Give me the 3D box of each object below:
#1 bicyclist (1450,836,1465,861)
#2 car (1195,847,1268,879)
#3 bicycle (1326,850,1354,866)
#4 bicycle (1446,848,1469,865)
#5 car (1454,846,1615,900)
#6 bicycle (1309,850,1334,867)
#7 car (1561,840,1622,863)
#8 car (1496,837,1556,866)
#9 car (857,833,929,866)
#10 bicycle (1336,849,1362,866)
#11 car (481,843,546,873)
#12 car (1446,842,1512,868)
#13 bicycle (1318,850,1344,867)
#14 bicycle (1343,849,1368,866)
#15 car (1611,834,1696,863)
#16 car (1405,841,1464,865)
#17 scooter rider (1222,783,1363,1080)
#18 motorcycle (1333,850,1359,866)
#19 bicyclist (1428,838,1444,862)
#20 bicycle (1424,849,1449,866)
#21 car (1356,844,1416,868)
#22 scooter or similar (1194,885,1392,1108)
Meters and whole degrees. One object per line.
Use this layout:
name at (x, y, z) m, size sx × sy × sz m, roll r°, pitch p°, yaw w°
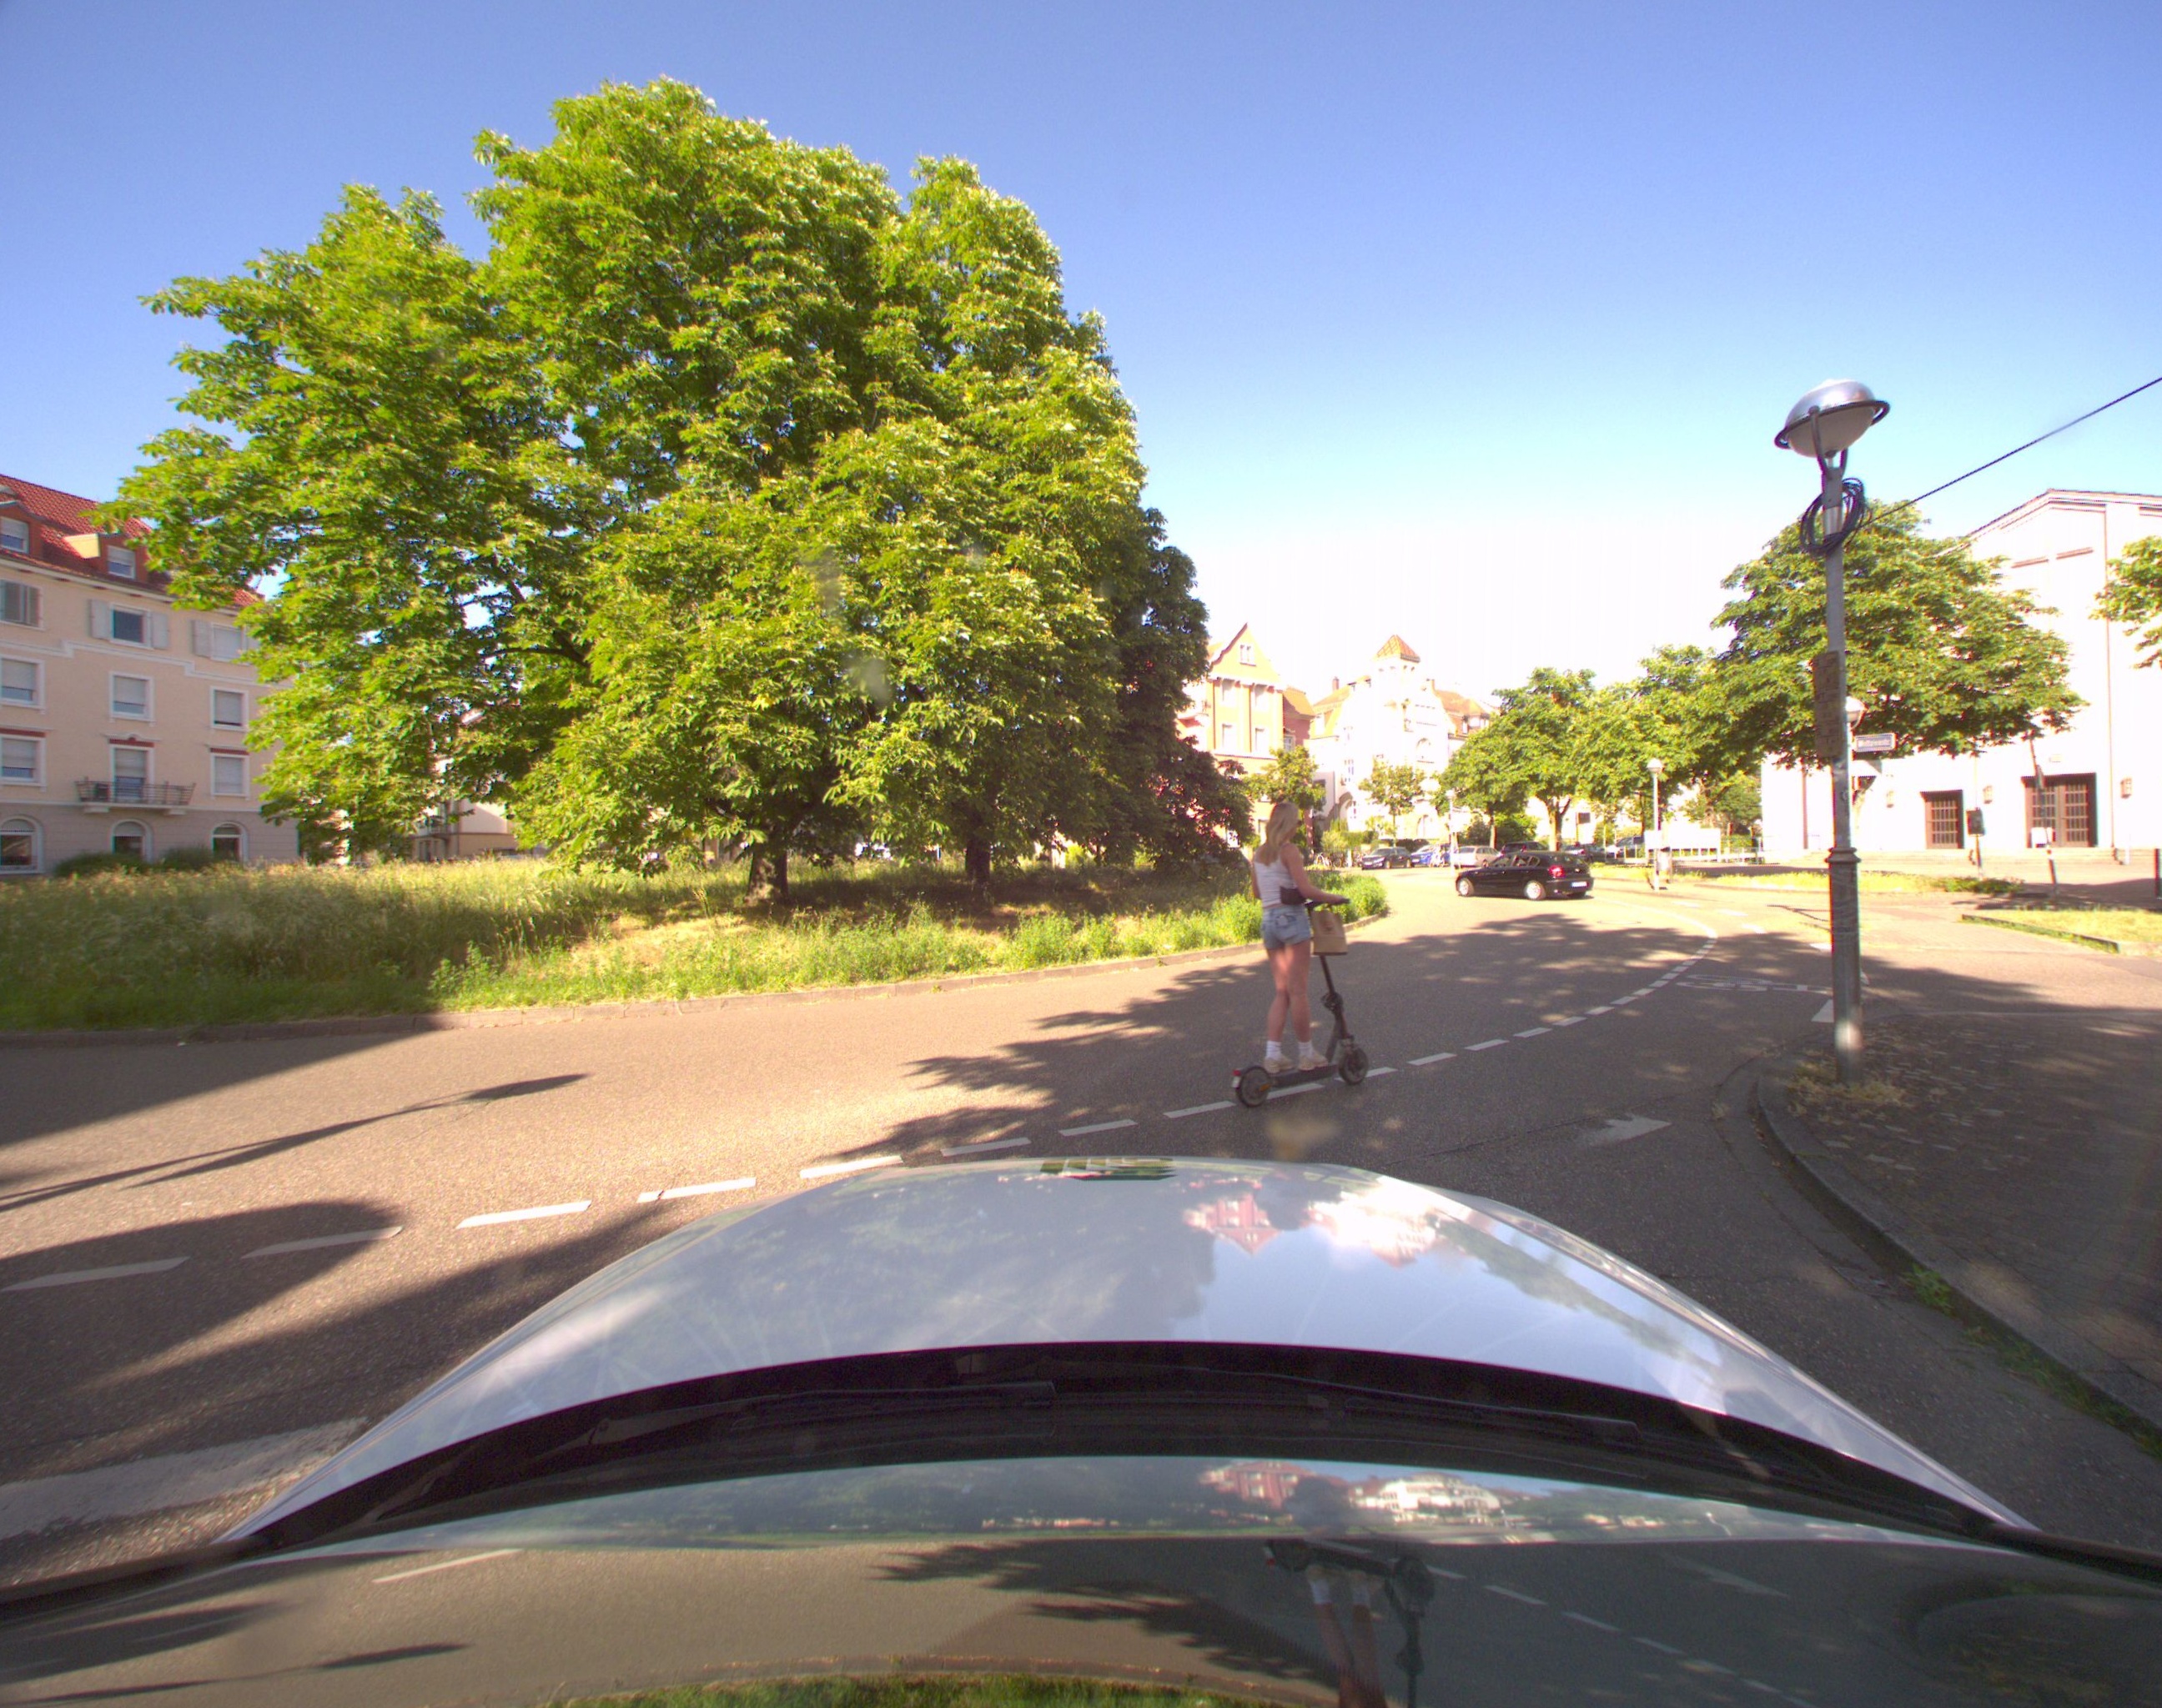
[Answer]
bicyclist at (25.992, -0.371, 56.250) m, size 0.726 × 1.714 × 0.639 m, roll -1°, pitch -1°, yaw -35°
car at (7.951, 0.464, 43.272) m, size 1.831 × 1.532 × 3.967 m, roll -1°, pitch 0°, yaw -25°
bicycle at (18.096, 0.257, 56.928) m, size 1.806 × 1.107 × 0.504 m, roll 1°, pitch 2°, yaw 40°
bicycle at (26.017, 0.167, 56.245) m, size 1.724 × 1.107 × 0.639 m, roll -1°, pitch -1°, yaw -35°
car at (13.306, 0.513, 24.169) m, size 1.870 × 1.419 × 3.976 m, roll -2°, pitch 0°, yaw -18°
bicycle at (16.528, 0.272, 55.928) m, size 0.548 × 1.115 × 1.709 m, roll -1°, pitch 2°, yaw -34°
car at (34.204, -0.191, 54.531) m, size 4.353 × 1.474 × 1.792 m, roll -1°, pitch 1°, yaw -32°
car at (27.456, -0.183, 50.186) m, size 4.360 × 1.728 × 1.789 m, roll -1°, pitch 1°, yaw -40°
car at (-15.687, -0.361, 67.706) m, size 6.294 × 2.600 × 2.117 m, roll 0°, pitch 0°, yaw 34°
bicycle at (19.013, 0.248, 57.794) m, size 0.503 × 1.107 × 1.706 m, roll -2°, pitch 2°, yaw -41°
car at (-39.271, 0.286, 56.328) m, size 4.502 × 1.909 × 2.155 m, roll -1°, pitch 0°, yaw 33°
car at (23.191, 0.030, 47.399) m, size 4.360 × 1.415 × 1.789 m, roll -1°, pitch 1°, yaw -40°
bicycle at (17.319, 0.273, 56.444) m, size 0.548 × 1.115 × 1.709 m, roll -1°, pitch 2°, yaw -34°
bicycle at (19.549, 0.235, 58.111) m, size 0.503 × 1.107 × 1.707 m, roll -1°, pitch 2°, yaw -38°
car at (41.215, -0.401, 58.751) m, size 1.819 × 2.001 × 4.724 m, roll -1°, pitch 1°, yaw -39°
car at (25.215, -0.096, 58.090) m, size 4.418 × 1.562 × 1.790 m, roll -2°, pitch -2°, yaw -35°
scooter rider at (1.395, 0.471, 5.421) m, size 0.632 × 1.832 × 0.621 m, roll -1°, pitch 0°, yaw -23°
motorcycle at (18.637, 0.263, 57.353) m, size 0.503 × 1.107 × 1.706 m, roll -2°, pitch 2°, yaw -41°
bicyclist at (23.646, -0.251, 54.213) m, size 0.807 × 1.581 × 0.589 m, roll -1°, pitch -1°, yaw -34°
bicycle at (23.665, 0.229, 54.213) m, size 1.871 × 1.107 × 0.589 m, roll -1°, pitch -1°, yaw -34°
car at (20.626, 0.113, 54.978) m, size 4.361 × 1.483 × 1.788 m, roll -1°, pitch -2°, yaw -40°
scooter or similar at (1.400, 0.877, 5.420) m, size 1.107 × 1.283 × 0.627 m, roll -1°, pitch 0°, yaw -23°
